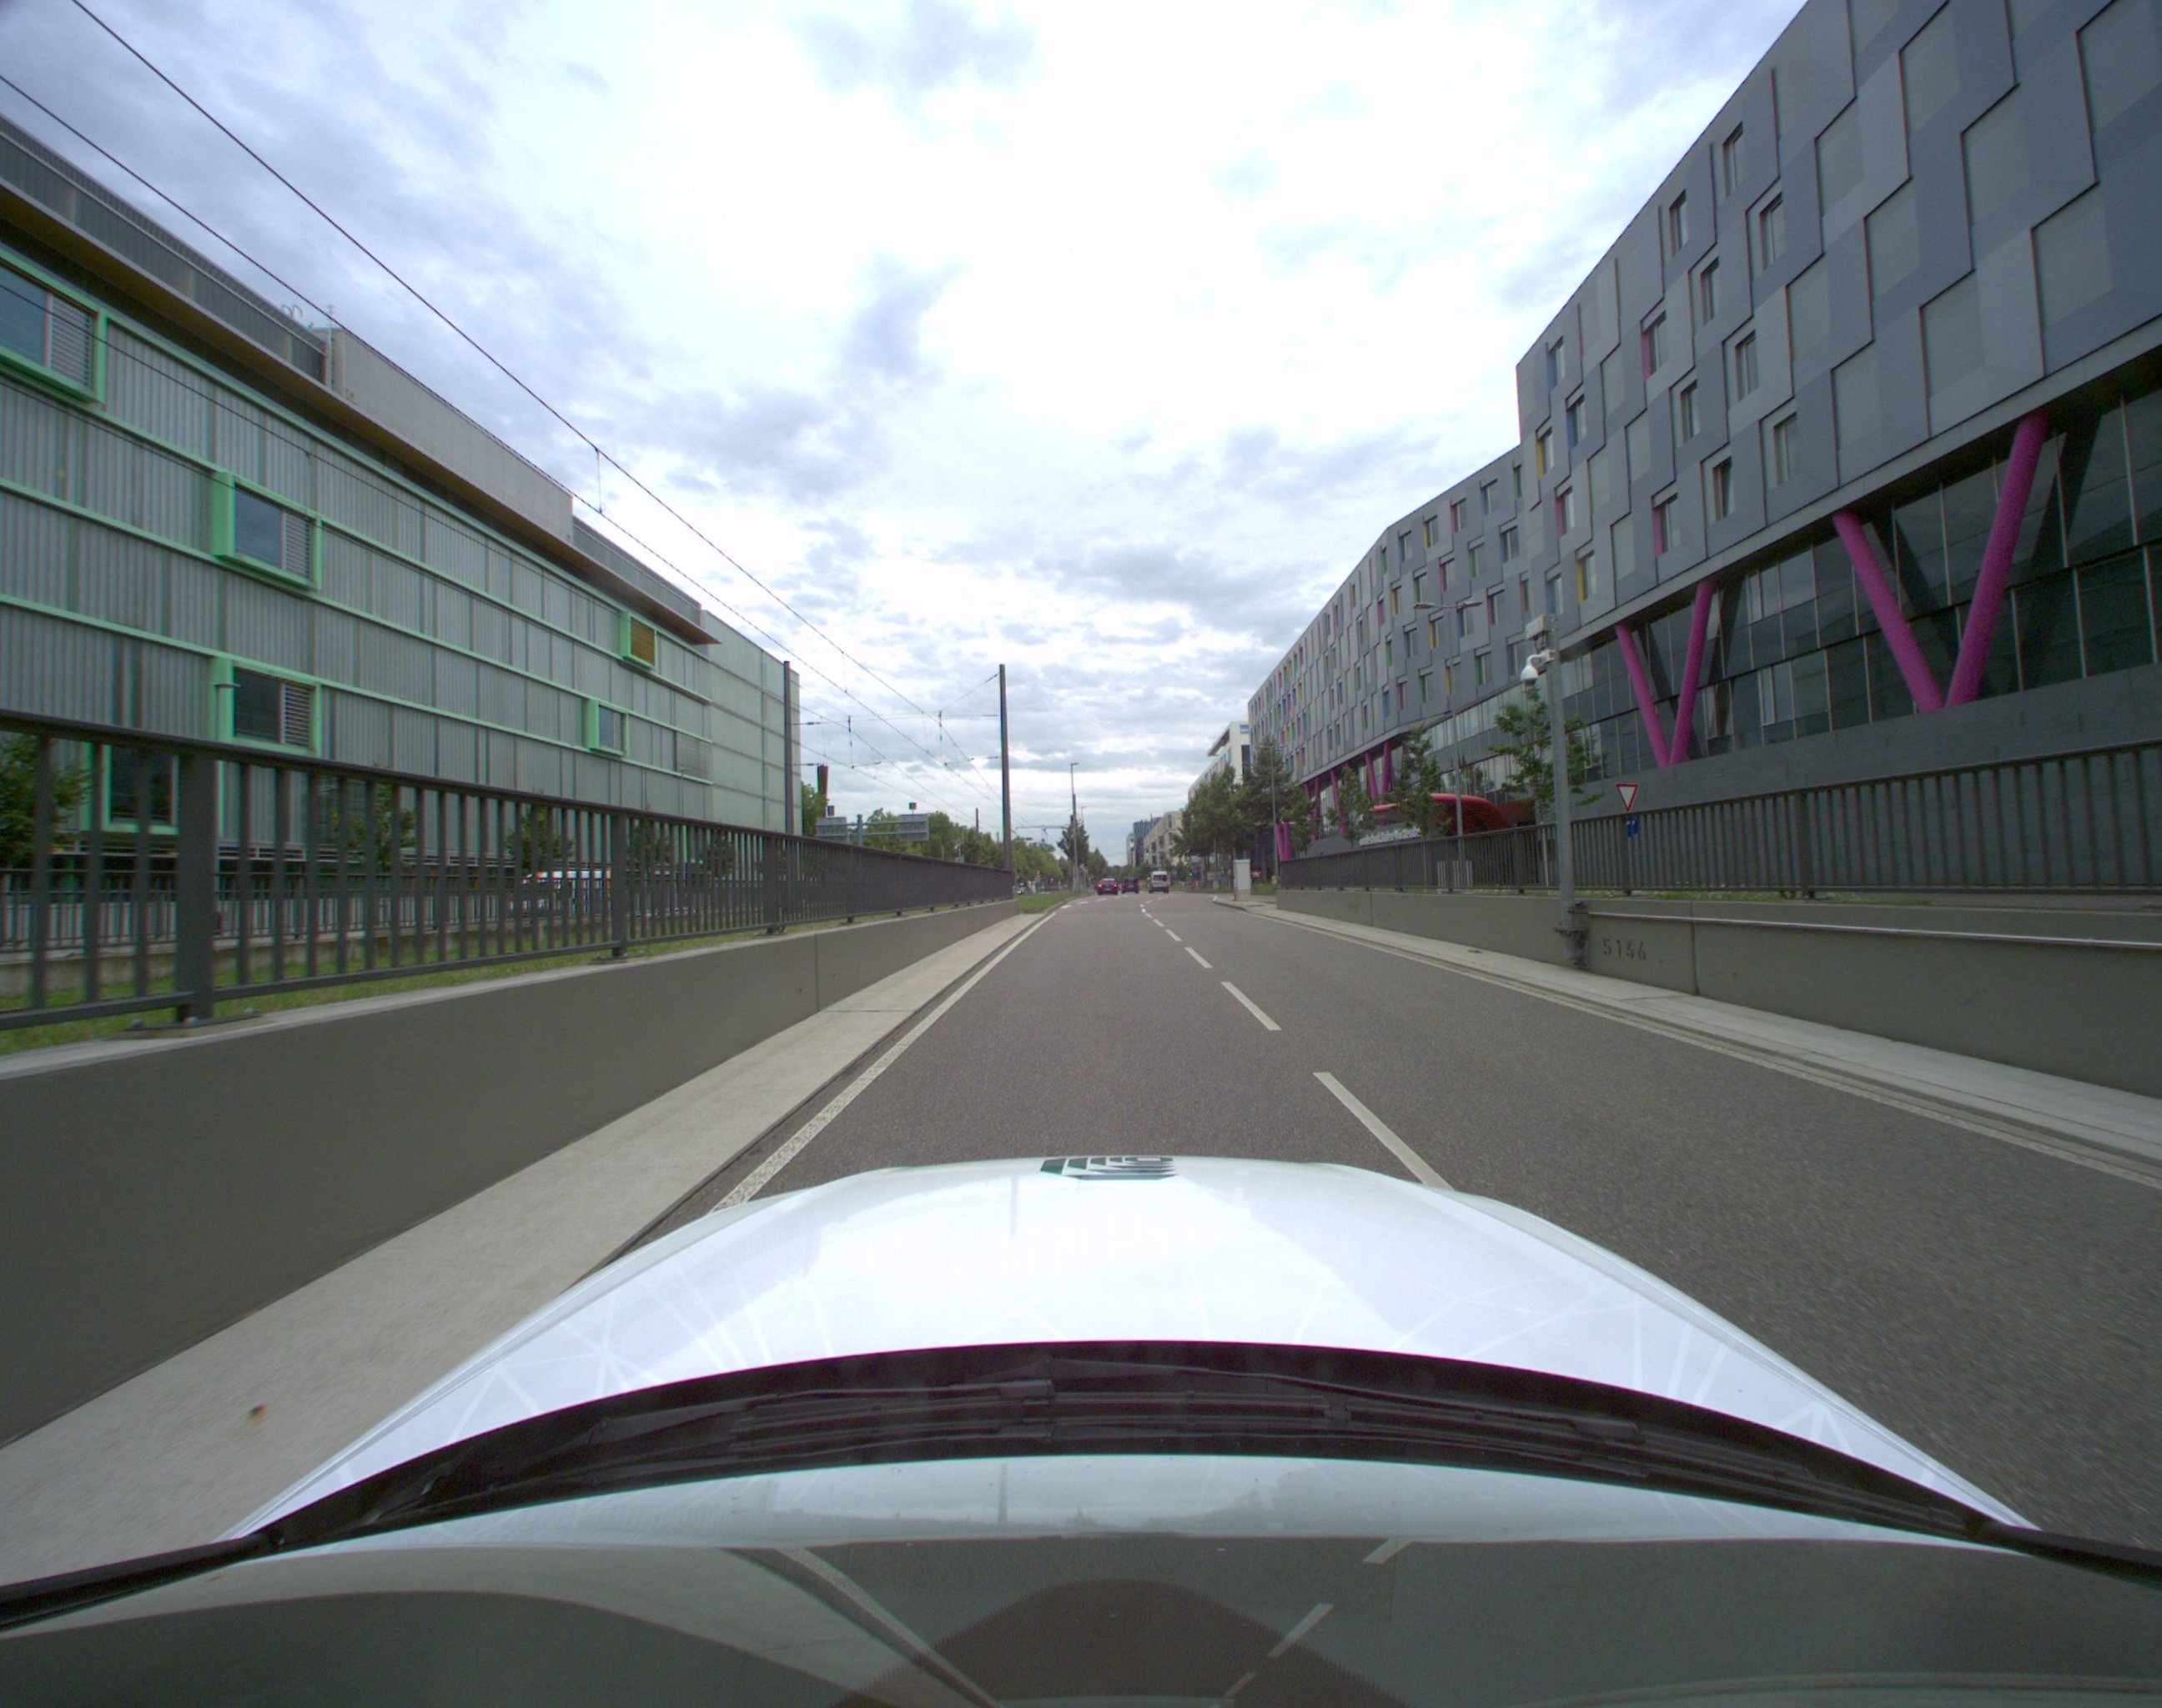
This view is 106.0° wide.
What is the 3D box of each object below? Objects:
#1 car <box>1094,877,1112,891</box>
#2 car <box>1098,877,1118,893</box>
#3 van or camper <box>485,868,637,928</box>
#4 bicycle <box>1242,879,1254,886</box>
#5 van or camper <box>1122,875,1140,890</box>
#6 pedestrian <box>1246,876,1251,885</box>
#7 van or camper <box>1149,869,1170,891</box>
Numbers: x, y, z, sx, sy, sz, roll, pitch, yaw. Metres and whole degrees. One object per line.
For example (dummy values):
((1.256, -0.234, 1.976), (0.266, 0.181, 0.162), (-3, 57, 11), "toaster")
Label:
((2.761, 3.730, 101.047), (1.985, 1.682, 4.004), (-1, -2, 4), "car")
((2.495, 2.899, 75.785), (1.737, 1.417, 4.000), (-1, -2, 1), "car")
((-22.161, 1.832, 35.186), (2.164, 2.287, 6.508), (-1, -2, 2), "van or camper")
((27.942, 4.718, 136.231), (1.784, 1.086, 0.618), (-2, -3, 3), "bicycle")
((5.796, 3.333, 94.567), (1.986, 1.615, 4.791), (-2, -1, 2), "van or camper")
((28.043, 4.446, 136.260), (0.612, 1.604, 0.619), (-2, -3, 4), "pedestrian")
((8.921, 2.925, 92.854), (2.101, 2.356, 4.925), (-2, -1, 2), "van or camper")
